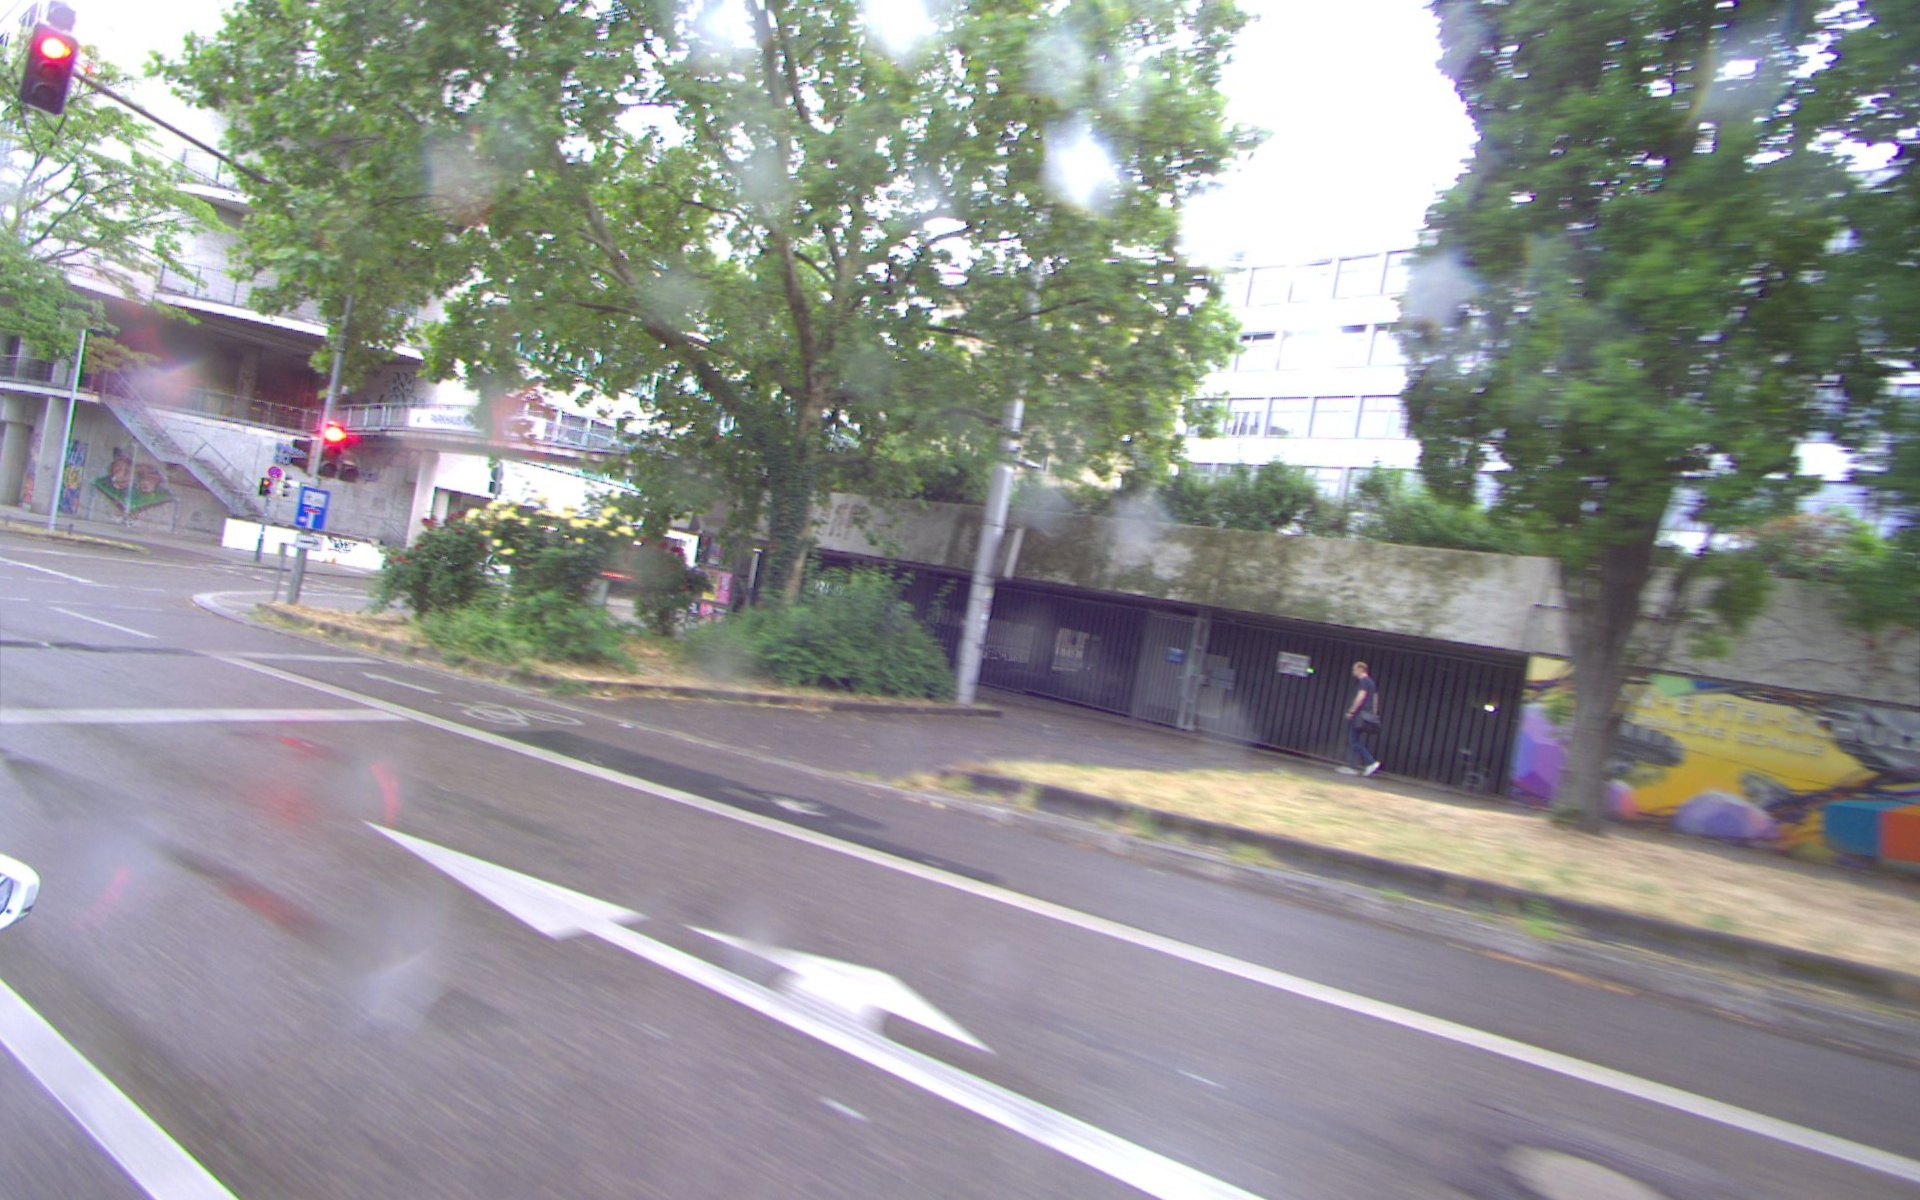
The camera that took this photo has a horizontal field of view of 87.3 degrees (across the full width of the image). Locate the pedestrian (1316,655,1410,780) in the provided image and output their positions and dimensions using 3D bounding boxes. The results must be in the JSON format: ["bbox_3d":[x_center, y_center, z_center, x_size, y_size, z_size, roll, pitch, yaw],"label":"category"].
[{"bbox_3d":[6.694,1.933,16.715,1.041,1.887,0.806,7,0,41],"label":"pedestrian"}]
